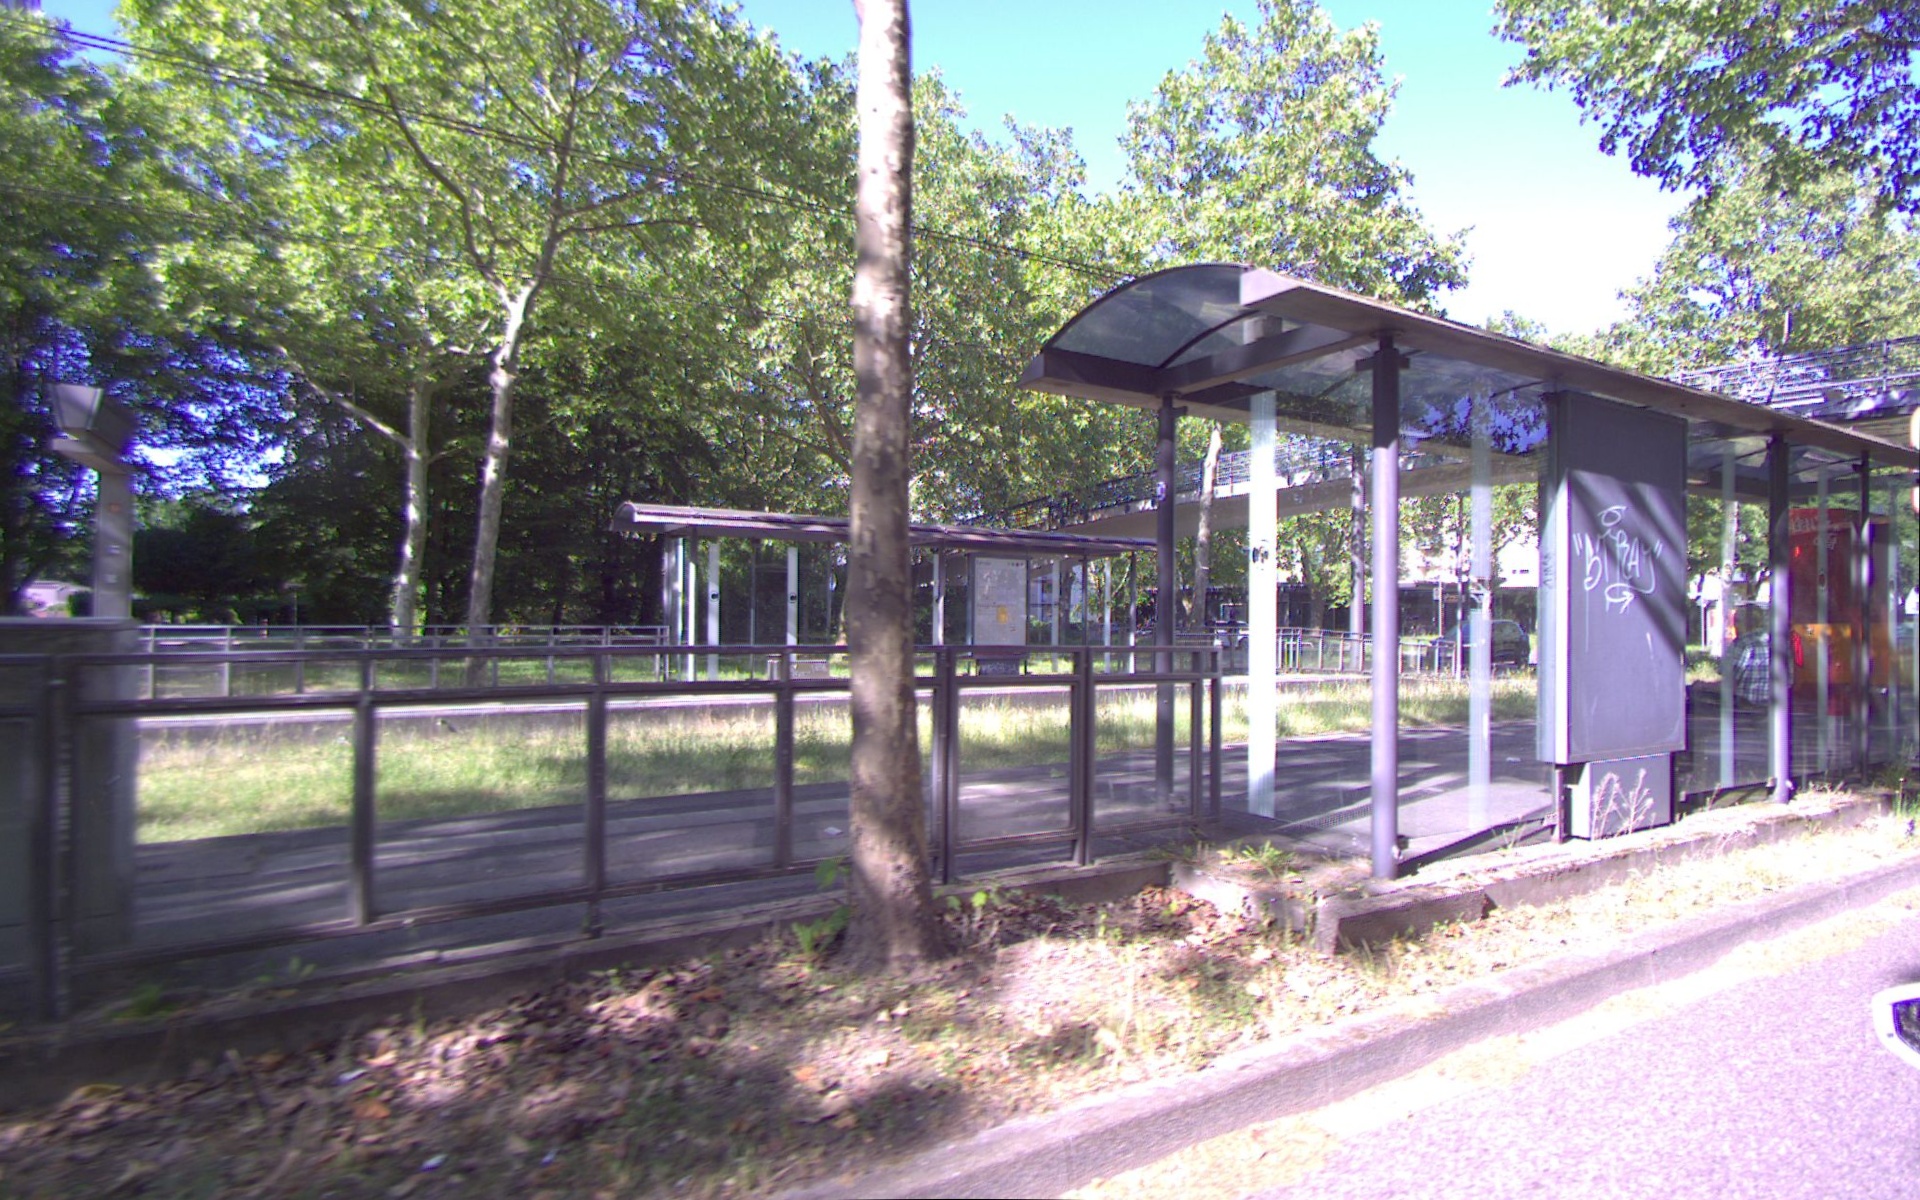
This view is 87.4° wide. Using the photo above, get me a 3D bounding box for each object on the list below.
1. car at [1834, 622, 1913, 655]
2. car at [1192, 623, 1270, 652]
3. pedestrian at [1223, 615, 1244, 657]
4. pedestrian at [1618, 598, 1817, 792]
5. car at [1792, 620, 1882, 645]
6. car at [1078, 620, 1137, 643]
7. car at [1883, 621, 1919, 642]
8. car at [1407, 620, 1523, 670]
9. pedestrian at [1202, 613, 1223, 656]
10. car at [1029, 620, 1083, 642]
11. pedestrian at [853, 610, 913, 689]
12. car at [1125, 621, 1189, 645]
[{"bbox_3d":[44.347,1.859,48.731,4.625,1.530,1.784,1,-1,-33],"label":"car"},{"bbox_3d":[15.111,2.089,56.159,1.783,1.530,4.045,1,-1,-37],"label":"car"},{"bbox_3d":[11.497,1.505,42.266,0.638,1.728,0.649,0,-1,-10],"label":"pedestrian"},{"bbox_3d":[5.379,0.628,7.154,0.840,1.259,0.851,1,0,-29],"label":"pedestrian"},{"bbox_3d":[55.942,2.067,64.113,3.919,1.530,1.801,0,-1,13],"label":"car"},{"bbox_3d":[10.152,2.180,69.393,1.783,1.530,3.959,1,-1,-36],"label":"car"},{"bbox_3d":[72.635,2.381,75.867,3.919,1.530,1.801,0,-1,13],"label":"car"},{"bbox_3d":[17.310,1.496,34.390,4.244,1.587,1.783,1,-1,-35],"label":"car"},{"bbox_3d":[10.573,1.448,42.047,0.638,1.807,0.649,0,-1,-10],"label":"pedestrian"},{"bbox_3d":[7.027,2.226,73.585,1.783,1.530,3.959,1,-1,-36],"label":"car"},{"bbox_3d":[-1.268,0.789,16.479,0.714,1.254,0.774,1,-1,-32],"label":"pedestrian"},{"bbox_3d":[12.828,2.139,65.586,1.783,1.530,3.959,1,-1,-36],"label":"car"}]
